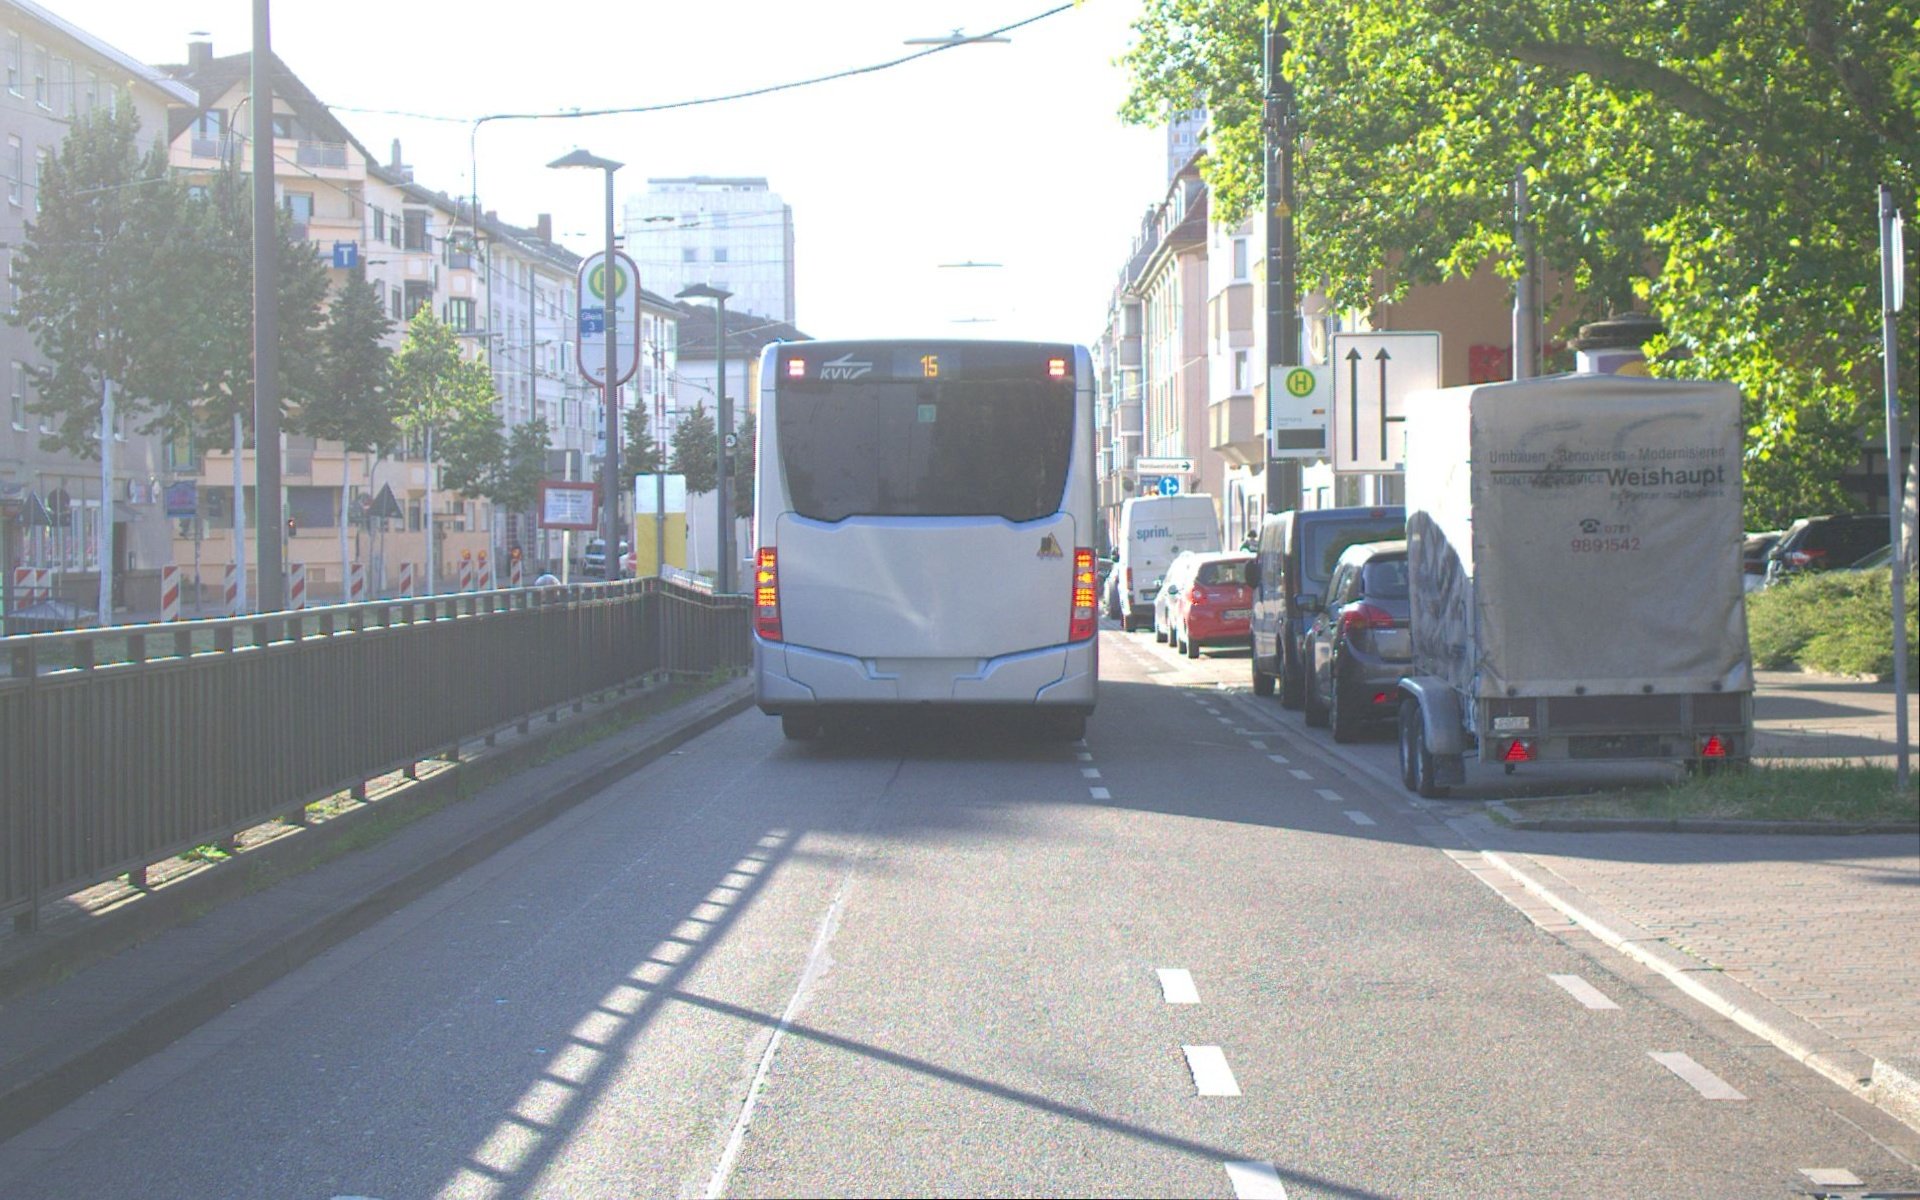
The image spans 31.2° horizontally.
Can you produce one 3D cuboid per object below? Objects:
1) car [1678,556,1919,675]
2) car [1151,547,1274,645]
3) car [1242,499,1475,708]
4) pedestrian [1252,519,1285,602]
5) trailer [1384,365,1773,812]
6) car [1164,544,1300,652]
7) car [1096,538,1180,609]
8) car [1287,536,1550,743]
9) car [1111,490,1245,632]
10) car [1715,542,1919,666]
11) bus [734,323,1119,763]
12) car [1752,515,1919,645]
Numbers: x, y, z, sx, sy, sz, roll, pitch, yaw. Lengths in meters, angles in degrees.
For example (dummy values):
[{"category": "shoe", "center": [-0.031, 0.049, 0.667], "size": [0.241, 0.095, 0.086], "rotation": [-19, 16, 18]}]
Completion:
[{"category": "car", "center": [12.175, 0.201, 48.013], "size": [3.920, 1.583, 1.706], "rotation": [-1, 1, 1]}, {"category": "car", "center": [4.050, -0.080, 55.611], "size": [1.671, 1.458, 3.933], "rotation": [-3, 1, 1]}, {"category": "car", "center": [3.942, 0.010, 34.697], "size": [1.847, 1.950, 4.543], "rotation": [-1, 1, 1]}, {"category": "pedestrian", "center": [7.256, -0.922, 80.797], "size": [0.685, 1.940, 1.116], "rotation": [0, -1, 1]}, {"category": "trailer", "center": [3.778, -0.087, 21.523], "size": [1.832, 2.549, 3.318], "rotation": [-1, 1, 1]}, {"category": "car", "center": [3.973, -0.046, 50.714], "size": [1.671, 1.458, 3.933], "rotation": [-3, 1, 1]}, {"category": "car", "center": [4.023, -0.624, 78.077], "size": [1.729, 1.569, 3.675], "rotation": [0, 1, 1]}, {"category": "car", "center": [3.740, 0.284, 28.608], "size": [1.700, 1.583, 3.827], "rotation": [-1, 1, 1]}, {"category": "car", "center": [4.182, -0.759, 66.725], "size": [2.282, 2.618, 5.309], "rotation": [-1, 1, 1]}, {"category": "car", "center": [12.163, 0.030, 45.578], "size": [3.920, 1.583, 1.706], "rotation": [-1, 1, 1]}, {"category": "bus", "center": [-0.261, -0.488, 30.034], "size": [2.733, 3.128, 10.704], "rotation": [1, 1, 0]}, {"category": "car", "center": [12.171, -0.278, 43.430], "size": [3.920, 1.583, 1.706], "rotation": [-1, 1, 1]}]
